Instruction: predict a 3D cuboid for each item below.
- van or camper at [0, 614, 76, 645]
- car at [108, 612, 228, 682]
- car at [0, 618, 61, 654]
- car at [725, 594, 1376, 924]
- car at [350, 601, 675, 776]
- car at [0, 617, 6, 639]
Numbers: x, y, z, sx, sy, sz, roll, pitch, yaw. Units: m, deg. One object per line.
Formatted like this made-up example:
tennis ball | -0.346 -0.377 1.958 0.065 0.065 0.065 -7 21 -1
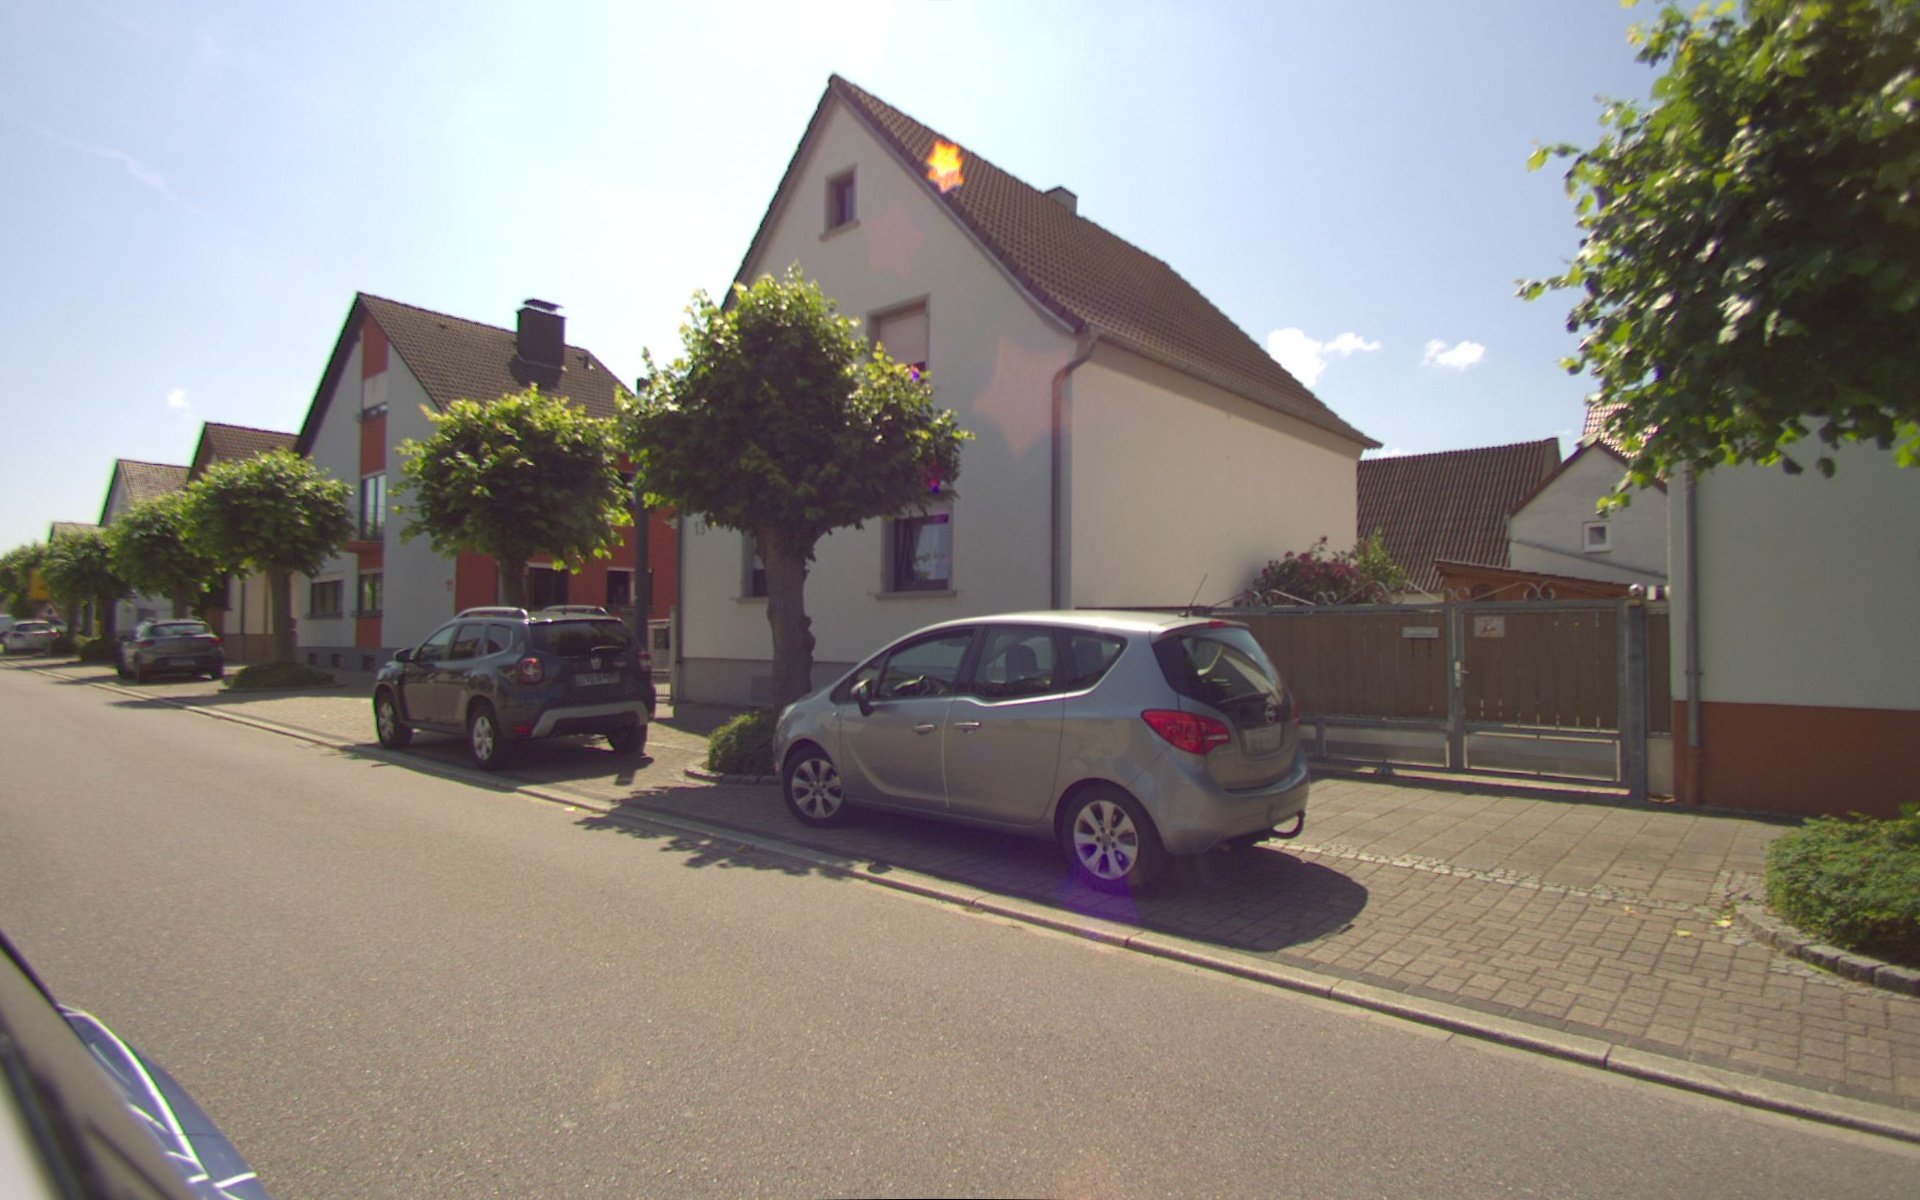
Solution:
van or camper | -60.454 1.913 65.501 1.999 1.876 4.691 -2 -1 40
car | -20.503 1.162 26.141 4.135 1.625 1.832 -1 0 43
car | -41.418 1.575 44.942 4.131 1.494 1.805 -1 0 42
car | 0.396 0.807 7.169 4.369 1.625 1.833 -1 0 41
car | -5.344 0.909 11.827 4.297 1.649 1.833 -2 -1 41
car | -79.255 2.286 80.820 1.942 1.732 4.201 -1 0 36
